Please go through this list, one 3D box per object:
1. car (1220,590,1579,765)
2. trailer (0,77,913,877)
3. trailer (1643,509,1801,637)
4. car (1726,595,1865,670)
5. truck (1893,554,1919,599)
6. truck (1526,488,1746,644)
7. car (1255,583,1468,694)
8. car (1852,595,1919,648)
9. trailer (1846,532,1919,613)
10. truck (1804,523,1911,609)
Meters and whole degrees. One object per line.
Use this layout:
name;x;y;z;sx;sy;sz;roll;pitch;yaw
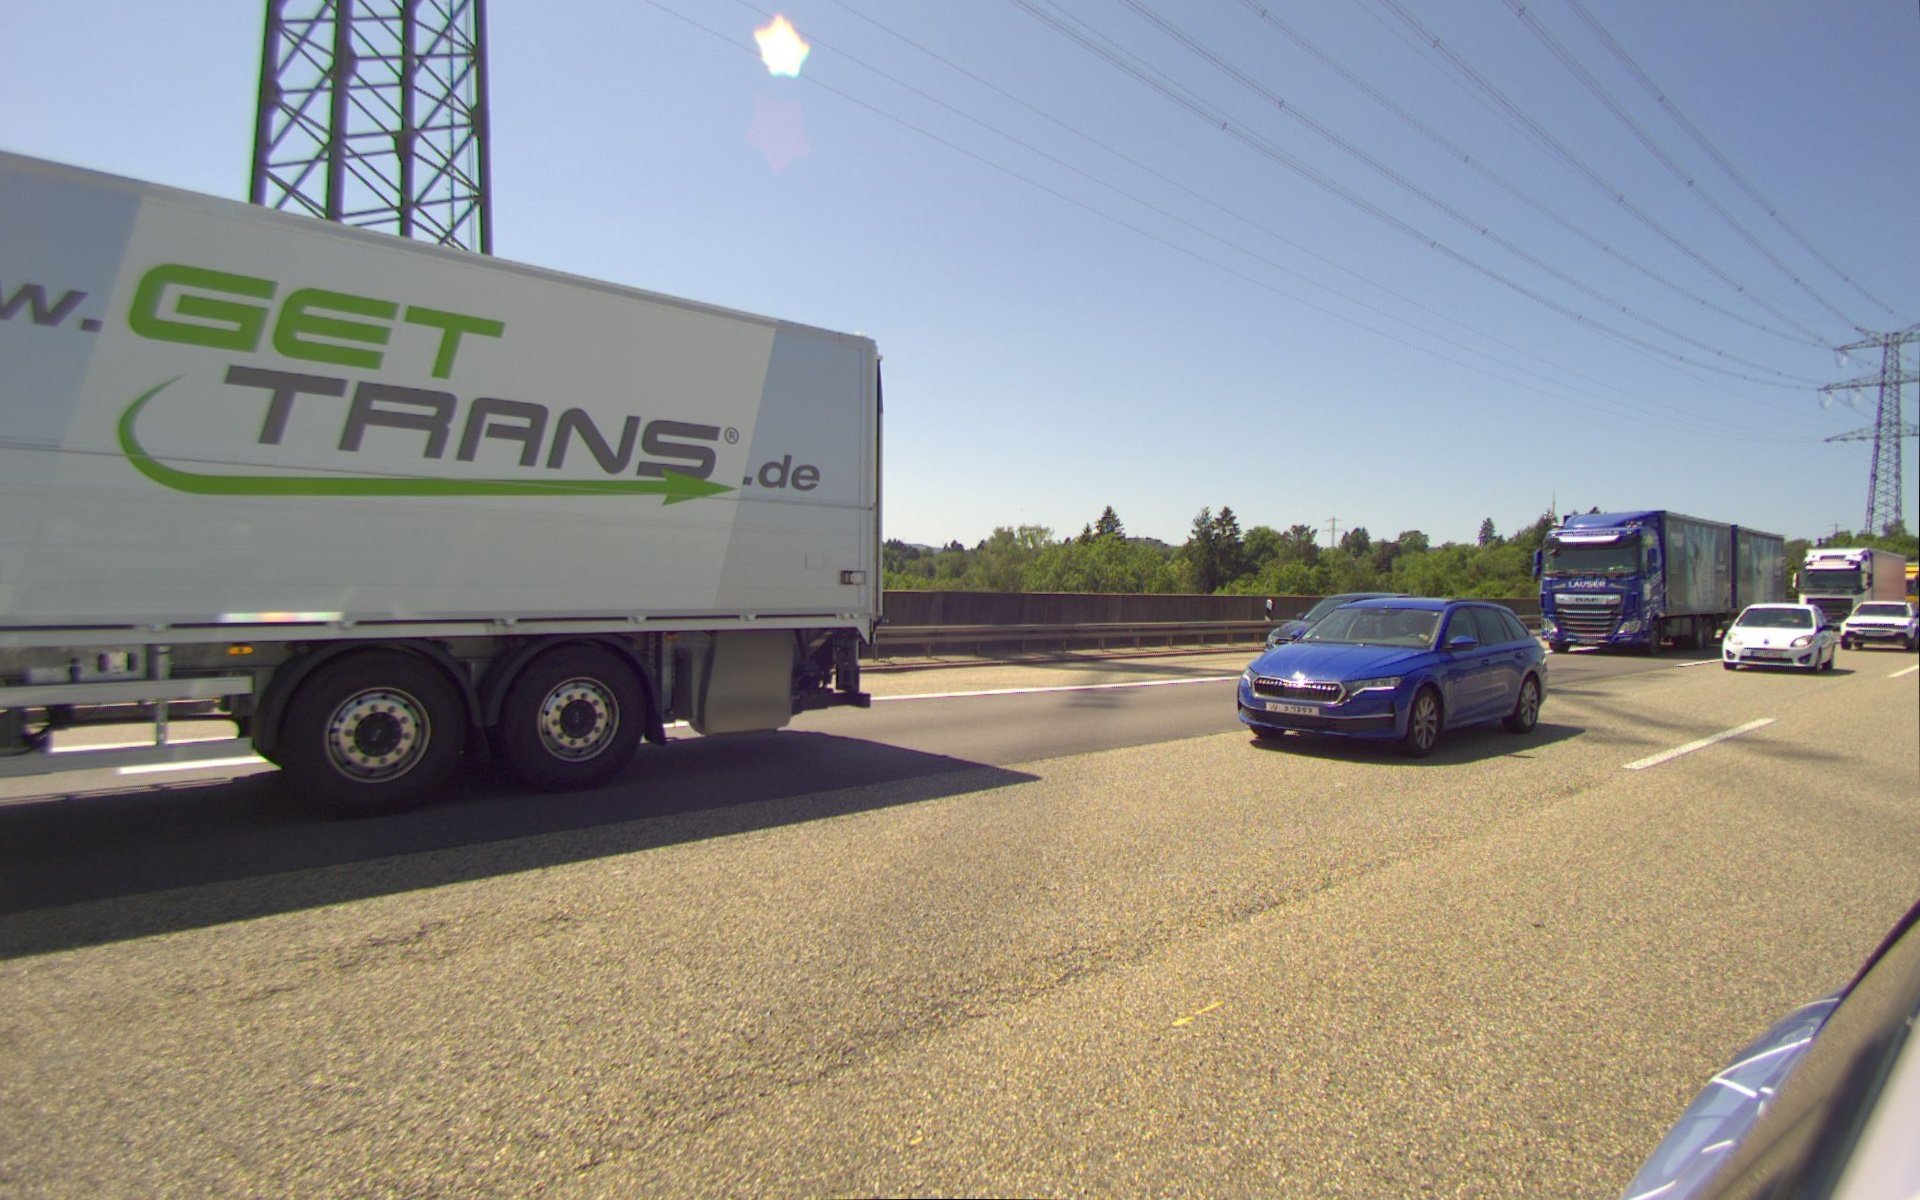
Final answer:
car;4.785;0.636;10.696;4.483;1.470;1.711;-1;1;-41
trailer;-4.377;-0.633;7.253;8.073;3.940;2.903;-1;0;-42
trailer;27.638;-0.933;36.516;8.487;4.140;2.833;-1;0;-41
car;18.409;0.640;22.244;4.072;1.470;1.711;-1;1;-41
truck;67.774;-1.642;71.419;6.139;3.018;2.249;-1;4;-43
truck;20.522;-0.924;30.352;10.212;3.999;2.857;-1;0;-41
car;6.921;0.551;17.261;4.046;1.675;1.711;-1;1;-41
car;29.462;0.615;31.712;4.072;1.529;1.711;-1;1;-41
trailer;51.766;-1.454;55.990;8.921;4.170;2.608;-1;0;-39
truck;45.066;-1.641;50.739;8.114;4.038;2.608;-1;0;-38
